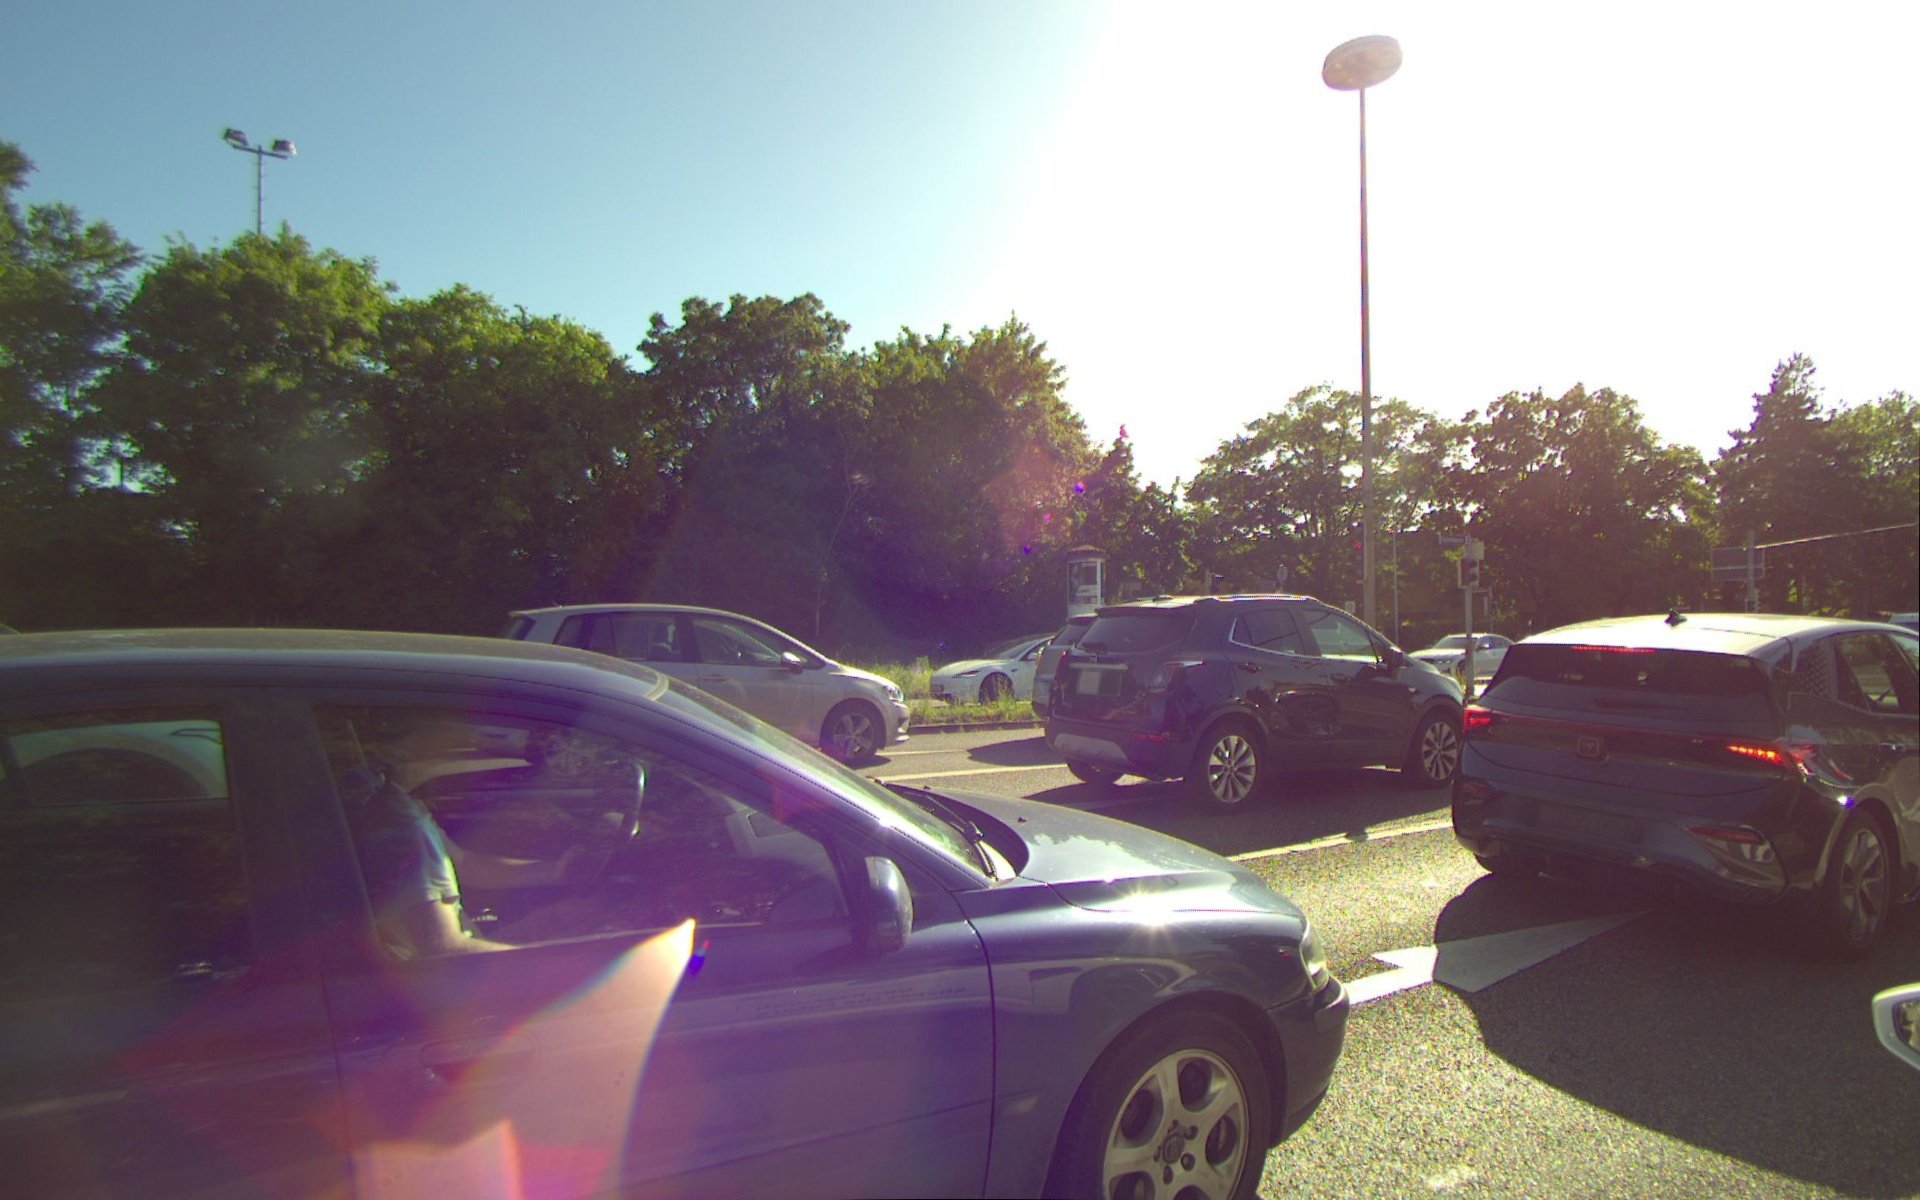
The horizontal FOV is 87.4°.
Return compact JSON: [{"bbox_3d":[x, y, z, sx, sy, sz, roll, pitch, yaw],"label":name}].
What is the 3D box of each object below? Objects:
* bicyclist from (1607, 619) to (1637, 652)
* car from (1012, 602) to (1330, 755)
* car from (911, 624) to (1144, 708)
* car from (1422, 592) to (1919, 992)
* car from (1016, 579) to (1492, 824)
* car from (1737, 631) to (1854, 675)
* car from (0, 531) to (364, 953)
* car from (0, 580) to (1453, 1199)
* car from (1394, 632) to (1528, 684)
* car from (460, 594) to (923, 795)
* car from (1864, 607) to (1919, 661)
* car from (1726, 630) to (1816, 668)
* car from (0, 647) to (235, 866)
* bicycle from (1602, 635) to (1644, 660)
[{"bbox_3d":[33.512,1.790,50.851,1.186,1.670,0.871,1,-2,-32],"label":"bicyclist"},{"bbox_3d":[2.811,0.949,13.183,3.956,1.724,1.820,1,-2,-32],"label":"car"},{"bbox_3d":[1.407,1.274,20.404,4.451,1.544,1.880,1,-2,-30],"label":"car"},{"bbox_3d":[4.740,0.825,5.817,4.158,1.601,1.676,2,-1,-30],"label":"car"},{"bbox_3d":[2.620,0.766,8.796,3.953,1.711,1.796,1,-2,-30],"label":"car"},{"bbox_3d":[28.911,1.805,34.731,4.561,1.452,1.678,1,-2,-30],"label":"car"},{"bbox_3d":[-5.253,0.594,4.509,4.373,1.732,1.984,1,-2,-30],"label":"car"},{"bbox_3d":[-1.096,0.723,2.203,4.404,1.471,1.767,2,0,-30],"label":"car"},{"bbox_3d":[15.249,1.722,30.537,4.172,1.475,1.633,1,-2,-30],"label":"car"},{"bbox_3d":[-2.613,0.831,10.007,4.156,1.632,1.822,1,-2,-30],"label":"car"},{"bbox_3d":[46.948,1.676,49.326,5.934,2.525,2.090,1,-2,-30],"label":"car"},{"bbox_3d":[34.525,2.063,42.736,3.956,1.529,1.678,1,-2,-30],"label":"car"},{"bbox_3d":[-7.913,1.070,6.945,4.499,1.448,1.822,1,-2,-30],"label":"car"},{"bbox_3d":[33.569,2.396,50.831,2.510,1.228,0.870,1,-2,-34],"label":"bicycle"}]
